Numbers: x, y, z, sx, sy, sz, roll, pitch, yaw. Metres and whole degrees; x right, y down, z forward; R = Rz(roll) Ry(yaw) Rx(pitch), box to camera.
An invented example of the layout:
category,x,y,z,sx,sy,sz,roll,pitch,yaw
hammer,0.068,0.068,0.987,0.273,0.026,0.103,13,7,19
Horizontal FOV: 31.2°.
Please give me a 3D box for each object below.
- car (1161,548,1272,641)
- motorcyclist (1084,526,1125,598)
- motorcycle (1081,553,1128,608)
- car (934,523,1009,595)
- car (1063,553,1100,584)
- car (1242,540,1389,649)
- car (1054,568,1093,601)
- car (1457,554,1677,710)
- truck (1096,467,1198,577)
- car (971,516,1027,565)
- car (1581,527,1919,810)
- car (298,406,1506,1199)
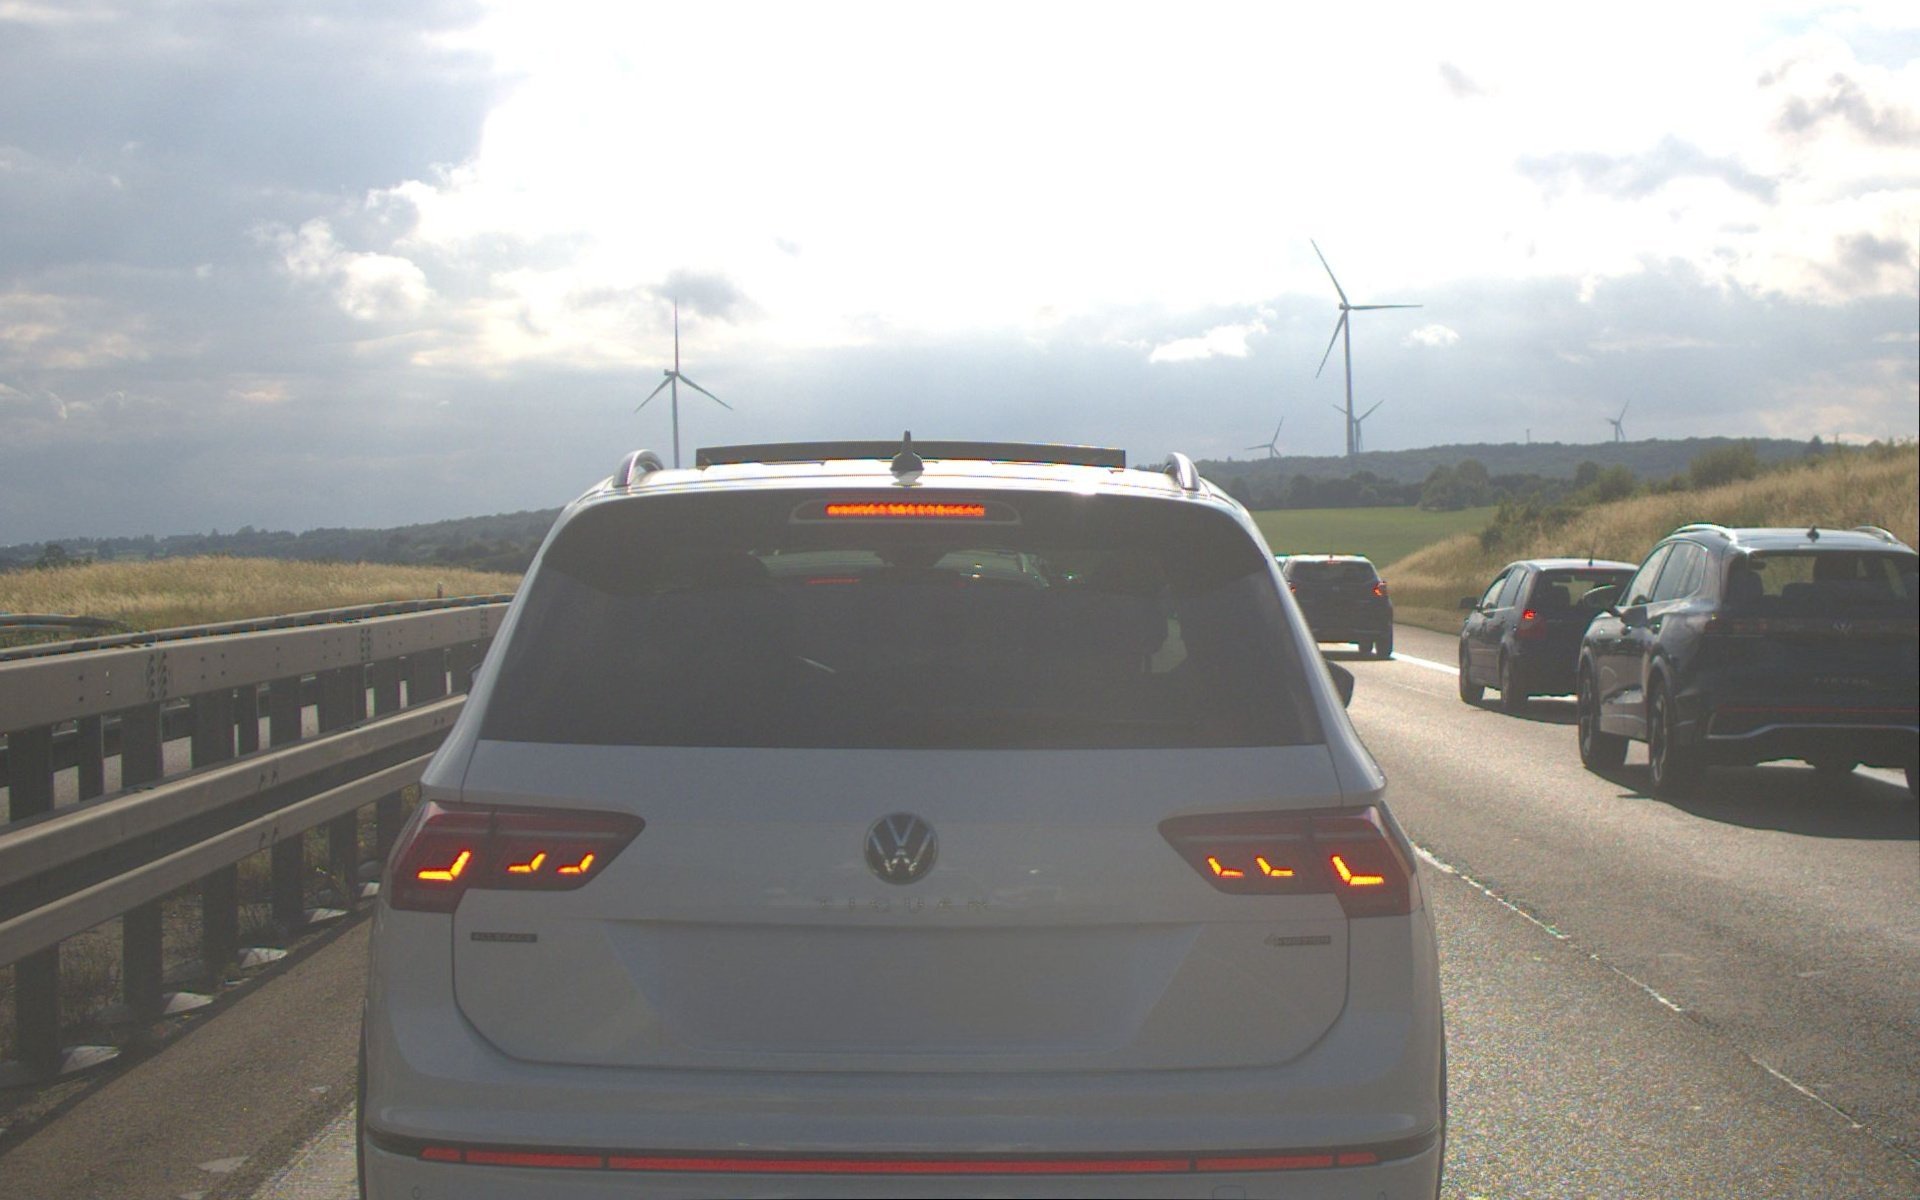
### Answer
category,x,y,z,sx,sy,sz,roll,pitch,yaw
car,4.677,-0.120,63.076,1.704,1.644,4.000,0,1,-1
motorcyclist,3.155,-0.833,75.192,0.849,1.554,0.934,0,1,-1
motorcycle,3.152,-0.425,75.241,0.895,1.186,2.257,0,1,-1
car,0.252,-0.951,80.324,1.704,1.644,4.000,0,1,-1
car,6.155,-1.614,175.060,1.704,1.540,4.000,0,1,-1
car,5.195,-0.105,50.607,1.704,1.540,4.000,0,1,-1
car,5.363,-0.737,162.658,1.704,1.540,4.000,0,1,-1
car,5.749,0.267,32.913,1.606,1.415,3.672,0,1,3
truck,6.350,-2.684,118.237,3.184,3.581,11.130,0,1,1
car,1.239,-1.888,110.081,1.704,1.540,4.000,0,1,-1
car,5.206,0.376,21.901,1.821,1.596,4.235,1,1,2
car,-0.103,0.528,7.043,1.770,1.670,4.000,0,1,-1
